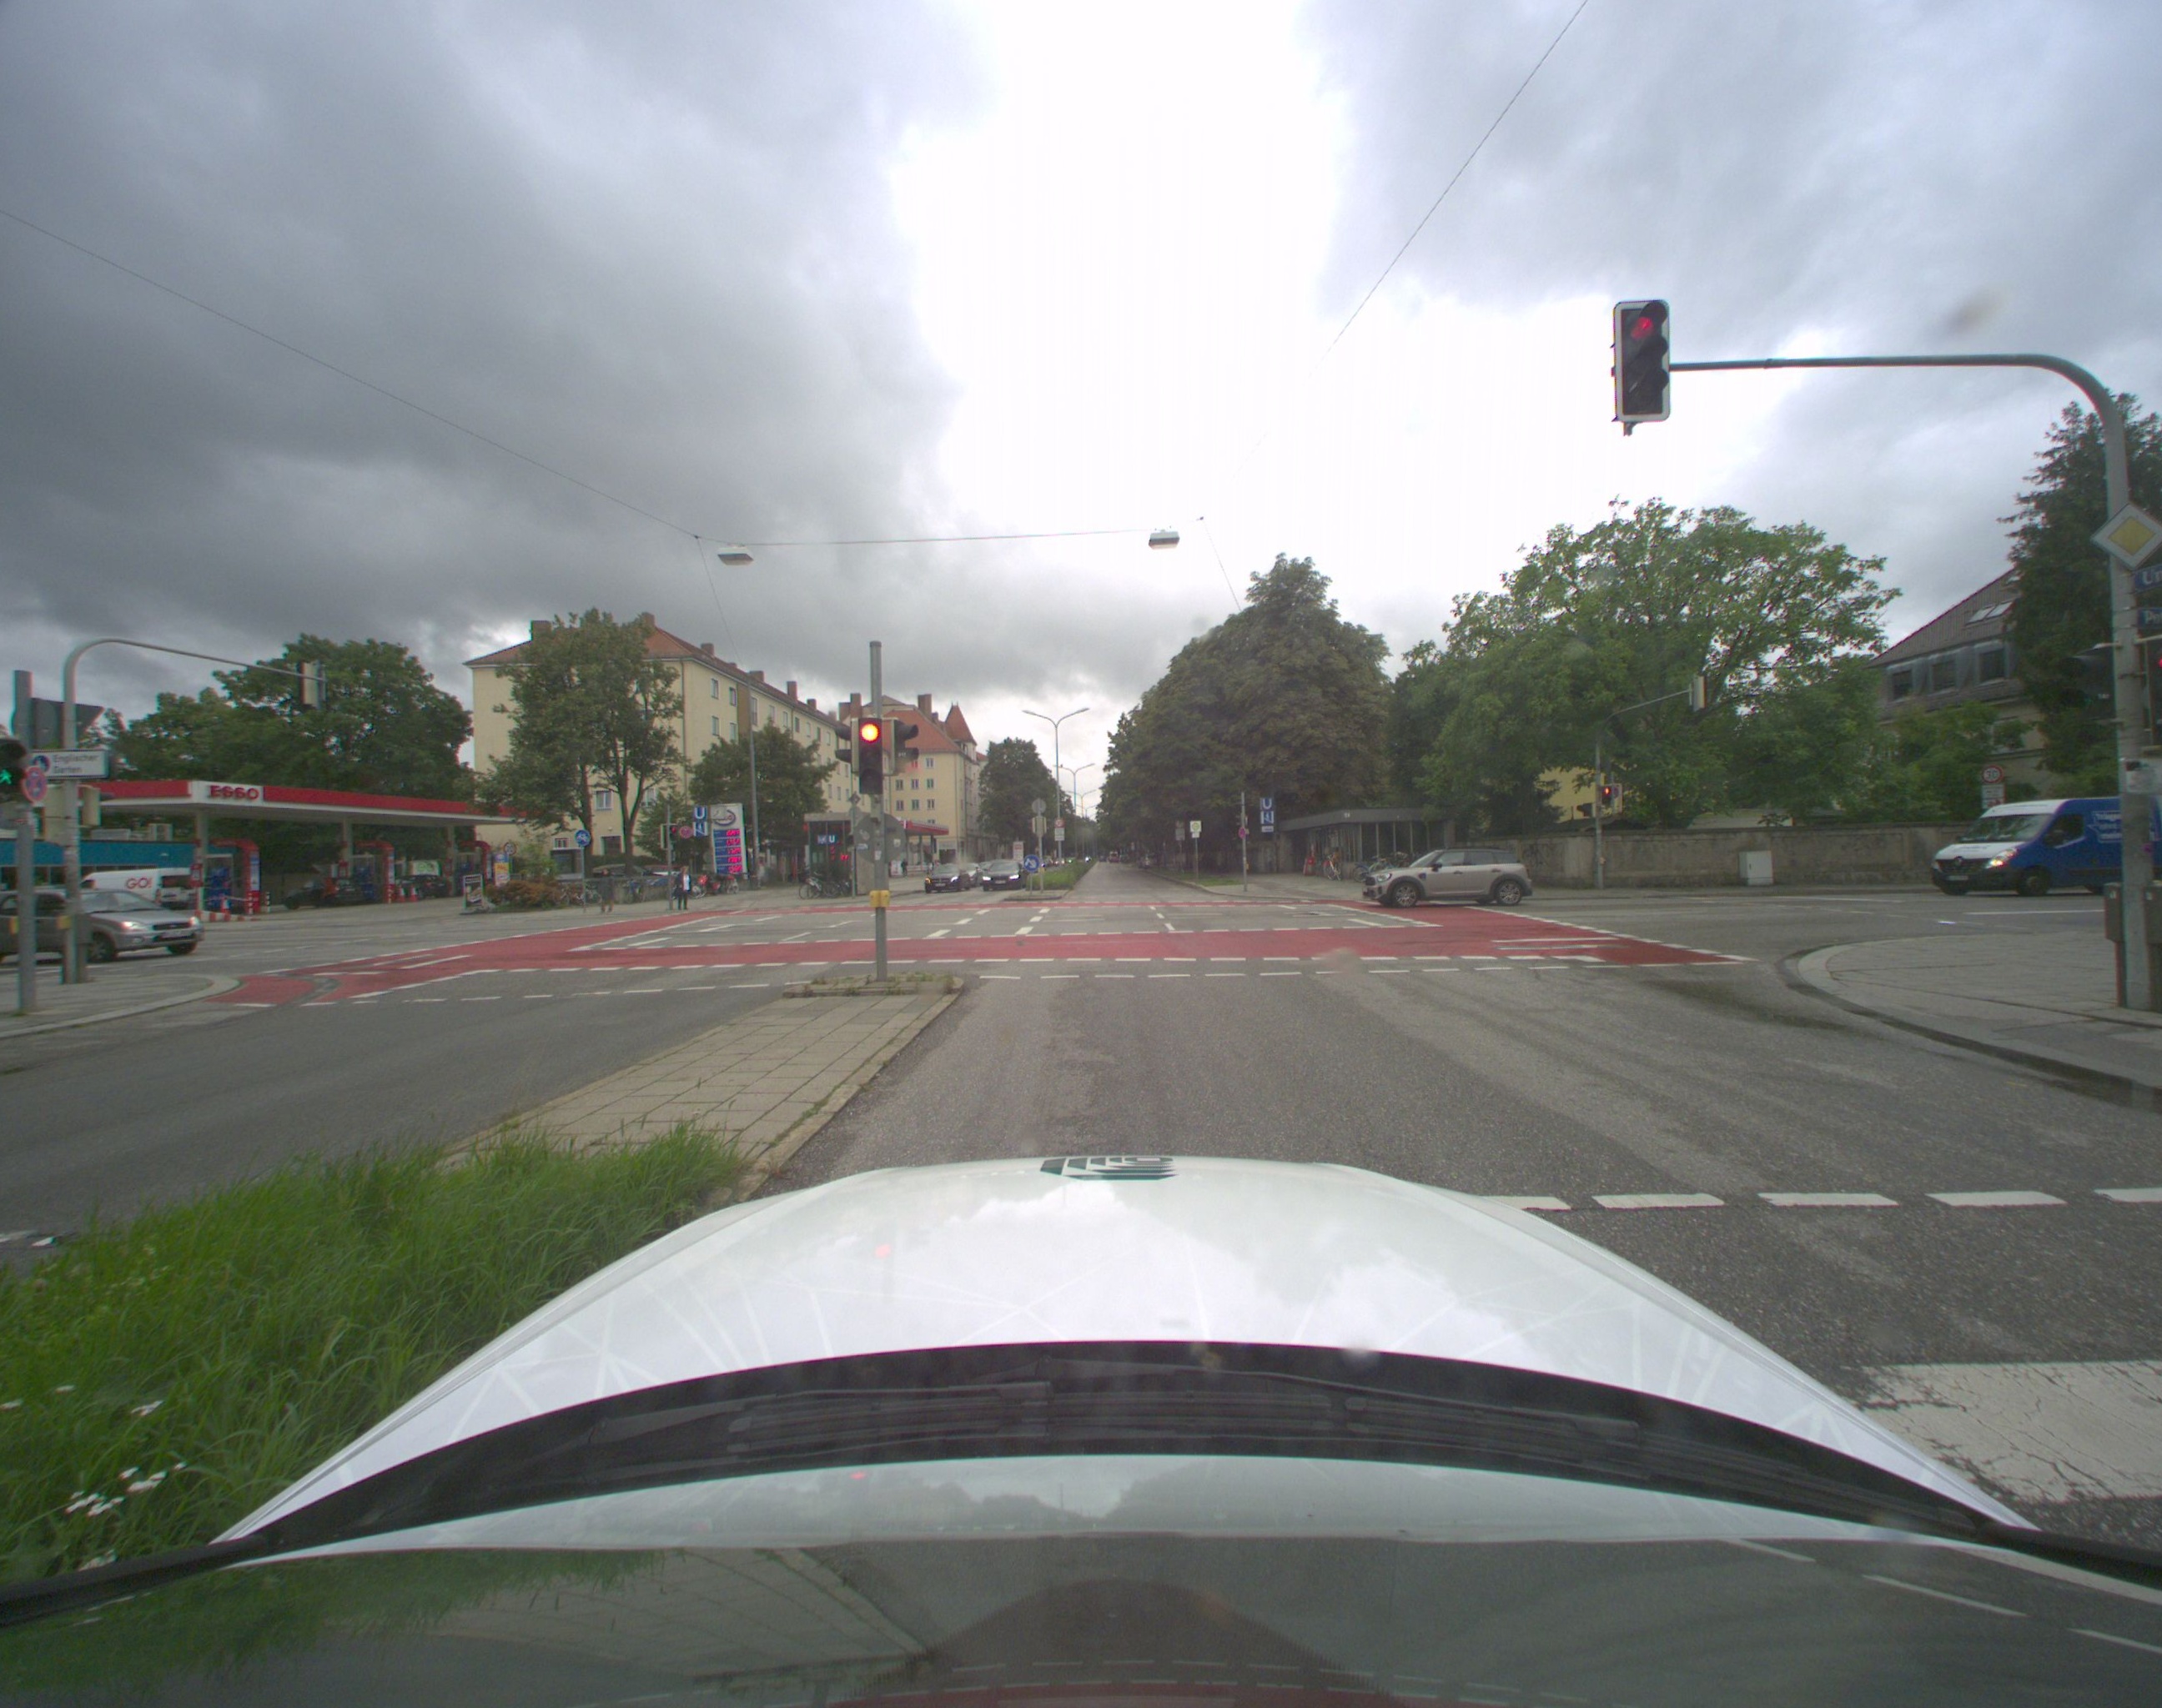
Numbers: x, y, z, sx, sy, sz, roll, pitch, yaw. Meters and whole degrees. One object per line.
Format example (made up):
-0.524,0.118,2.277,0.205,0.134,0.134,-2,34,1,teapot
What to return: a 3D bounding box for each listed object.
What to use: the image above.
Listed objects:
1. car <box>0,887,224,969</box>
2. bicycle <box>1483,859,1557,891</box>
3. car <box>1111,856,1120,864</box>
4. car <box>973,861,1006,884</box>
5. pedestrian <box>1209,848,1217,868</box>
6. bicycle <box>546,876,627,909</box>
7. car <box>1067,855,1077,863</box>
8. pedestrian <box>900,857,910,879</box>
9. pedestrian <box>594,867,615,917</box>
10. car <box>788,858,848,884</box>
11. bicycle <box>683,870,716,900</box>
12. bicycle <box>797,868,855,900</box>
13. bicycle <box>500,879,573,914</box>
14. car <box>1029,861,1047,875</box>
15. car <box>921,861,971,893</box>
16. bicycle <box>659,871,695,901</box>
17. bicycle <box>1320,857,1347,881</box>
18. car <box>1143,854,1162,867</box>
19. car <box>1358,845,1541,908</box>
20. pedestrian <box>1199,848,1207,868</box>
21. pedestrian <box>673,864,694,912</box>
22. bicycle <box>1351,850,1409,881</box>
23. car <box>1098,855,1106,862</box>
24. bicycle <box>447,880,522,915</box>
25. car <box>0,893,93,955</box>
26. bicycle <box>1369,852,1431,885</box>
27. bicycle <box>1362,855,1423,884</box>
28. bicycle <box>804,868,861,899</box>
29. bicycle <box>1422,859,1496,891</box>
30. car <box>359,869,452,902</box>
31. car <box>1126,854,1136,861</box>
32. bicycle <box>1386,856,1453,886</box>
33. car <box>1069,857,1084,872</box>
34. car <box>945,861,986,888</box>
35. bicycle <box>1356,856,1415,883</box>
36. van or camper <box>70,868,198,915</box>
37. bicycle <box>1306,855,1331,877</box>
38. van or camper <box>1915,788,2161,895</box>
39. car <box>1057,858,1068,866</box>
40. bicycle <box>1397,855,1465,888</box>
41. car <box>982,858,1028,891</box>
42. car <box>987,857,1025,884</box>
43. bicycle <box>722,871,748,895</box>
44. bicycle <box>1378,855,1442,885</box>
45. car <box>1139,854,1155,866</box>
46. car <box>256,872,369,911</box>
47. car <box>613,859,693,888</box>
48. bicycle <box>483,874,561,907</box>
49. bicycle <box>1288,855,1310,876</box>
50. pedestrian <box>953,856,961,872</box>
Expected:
-21.031,1.543,17.385,3.608,1.517,1.663,-2,0,-1,car
14.923,0.698,27.723,2.130,1.014,0.636,-2,0,9,bicycle
7.275,1.294,172.739,1.916,1.684,4.001,-2,0,1,car
-6.426,1.256,57.409,1.753,1.460,4.001,-2,0,1,car
11.232,0.303,69.330,0.674,1.682,0.684,-2,0,7,pedestrian
-19.591,1.508,32.336,2.720,1.251,0.786,0,-1,-29,bicycle
-2.106,1.094,191.249,1.945,1.823,4.002,-2,0,2,car
-15.842,1.280,73.363,0.727,2.014,0.835,0,-1,1,pedestrian
-16.719,1.313,28.581,0.593,1.695,0.571,-1,0,-29,pedestrian
-20.103,1.264,62.369,3.976,1.838,1.879,-2,0,-2,car
-17.245,1.389,36.863,0.607,1.236,2.183,-2,0,-5,bicycle
-11.025,1.280,35.263,2.262,1.304,0.704,-2,0,2,bicycle
-20.896,1.610,31.279,2.180,1.236,0.763,-2,0,-10,bicycle
-5.204,1.678,98.912,1.753,1.493,4.001,-2,0,1,car
-6.865,1.136,41.826,1.753,1.460,4.001,-2,0,1,car
-17.864,1.404,36.054,0.607,1.236,2.183,-2,0,-5,bicycle
11.129,0.646,35.959,0.555,1.014,2.015,-2,0,0,bicycle
7.870,0.655,89.690,1.737,1.363,3.807,-2,0,1,car
9.830,0.583,21.966,4.150,1.514,1.697,-2,0,3,car
10.349,0.307,69.137,0.674,1.682,0.684,-2,0,7,pedestrian
-14.545,1.231,29.800,0.535,1.695,0.574,-2,0,-14,pedestrian
12.255,0.480,33.418,2.130,1.218,0.604,-2,0,9,bicycle
4.983,1.113,196.676,1.850,1.684,4.001,-2,0,1,car
-22.831,1.651,31.227,2.179,1.236,0.764,-2,0,-8,bicycle
-27.619,1.776,20.511,3.532,1.412,1.666,-2,0,3,car
12.170,0.556,31.119,2.130,1.178,0.604,-2,0,9,bicycle
12.161,0.620,31.821,2.130,1.062,0.604,-2,0,9,bicycle
-10.978,1.300,36.042,2.276,1.304,0.694,-2,0,2,bicycle
12.729,0.698,27.463,2.130,1.014,0.636,-2,0,9,bicycle
-40.311,1.873,48.649,3.973,1.784,1.858,-2,0,1,car
9.819,0.691,159.341,1.737,1.427,3.900,-2,0,1,car
12.302,0.629,29.648,2.130,1.014,0.604,-2,0,9,bicycle
-0.483,1.084,85.585,1.463,1.399,3.701,-2,0,1,car
-6.803,1.195,48.453,1.753,1.460,4.001,-2,0,1,car
12.215,0.609,32.702,2.130,1.014,0.604,-2,0,9,bicycle
-51.893,2.030,44.706,4.526,2.323,1.917,-2,0,-3,van or camper
11.258,0.557,38.692,0.555,1.014,2.015,-2,0,0,bicycle
25.135,-0.322,20.675,5.527,2.469,2.069,-2,0,4,van or camper
-3.279,1.396,146.181,1.753,1.460,4.001,-2,0,1,car
12.410,0.617,28.931,2.130,1.101,0.604,-2,0,9,bicycle
-3.720,0.972,40.558,1.753,1.493,4.001,-2,0,1,car
-4.410,0.943,48.420,1.753,1.493,4.001,-2,0,1,car
-17.409,1.435,41.022,0.607,1.145,1.962,-2,0,-5,bicycle
12.298,0.597,30.476,2.130,1.086,0.604,-2,0,9,bicycle
8.060,0.733,99.717,1.737,1.363,3.807,-2,0,1,car
-39.570,1.905,41.996,3.973,1.784,1.858,-2,0,1,car
-26.465,1.199,50.451,3.939,1.608,1.817,-2,0,1,car
-21.885,1.421,31.938,2.394,1.251,0.789,0,-1,-10,bicycle
11.220,0.591,41.988,0.555,1.014,2.015,-2,0,0,bicycle
-13.635,1.100,89.512,0.693,1.638,0.738,-2,0,1,pedestrian
